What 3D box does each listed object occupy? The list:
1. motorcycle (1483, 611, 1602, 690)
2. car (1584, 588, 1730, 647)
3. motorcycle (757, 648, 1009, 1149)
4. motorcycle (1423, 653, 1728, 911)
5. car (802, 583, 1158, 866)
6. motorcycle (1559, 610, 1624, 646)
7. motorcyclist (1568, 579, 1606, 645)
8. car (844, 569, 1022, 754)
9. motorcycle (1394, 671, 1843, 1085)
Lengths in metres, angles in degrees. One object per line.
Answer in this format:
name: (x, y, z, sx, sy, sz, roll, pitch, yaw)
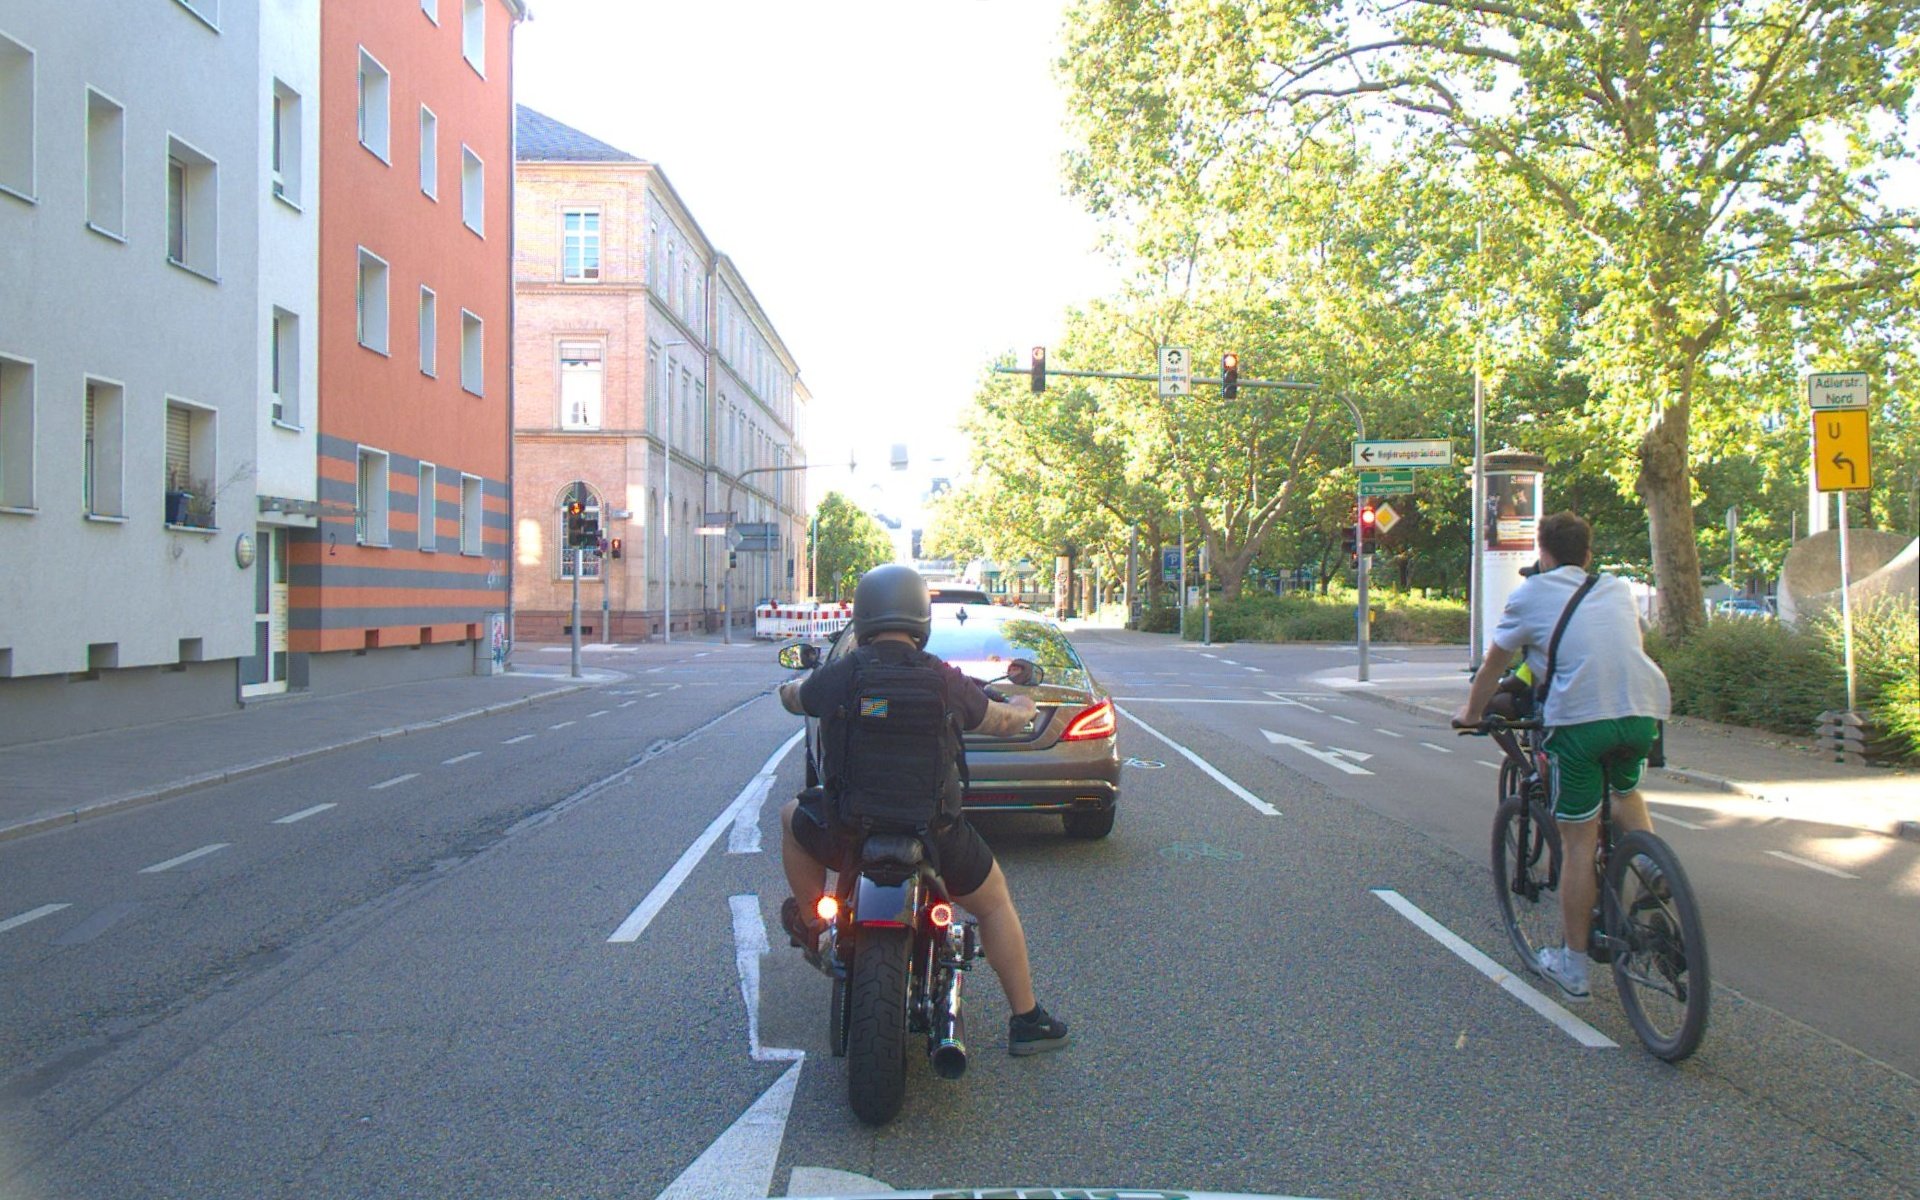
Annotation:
motorcycle: (9.778, 0.838, 27.811, 1.743, 1.265, 0.723, 1, 0, 4)
car: (21.993, 0.538, 52.282, 3.907, 1.803, 1.737, 0, 0, -3)
motorcycle: (-0.217, 0.820, 5.404, 0.646, 1.261, 2.057, 1, 0, -1)
motorcycle: (3.234, 0.899, 8.957, 0.781, 1.151, 2.236, 1, 0, -1)
car: (-0.083, 0.686, 11.114, 1.790, 1.512, 4.326, 1, 0, -7)
motorcycle: (18.216, 0.792, 47.715, 1.683, 1.019, 0.416, 0, 0, 3)
motorcyclist: (18.094, 0.345, 47.722, 0.962, 1.909, 0.376, 0, -1, 3)
car: (-0.272, 0.577, 17.263, 1.618, 1.681, 3.999, 1, 0, -1)
motorcycle: (2.287, 0.899, 6.066, 0.845, 1.189, 1.929, 1, 0, -1)
